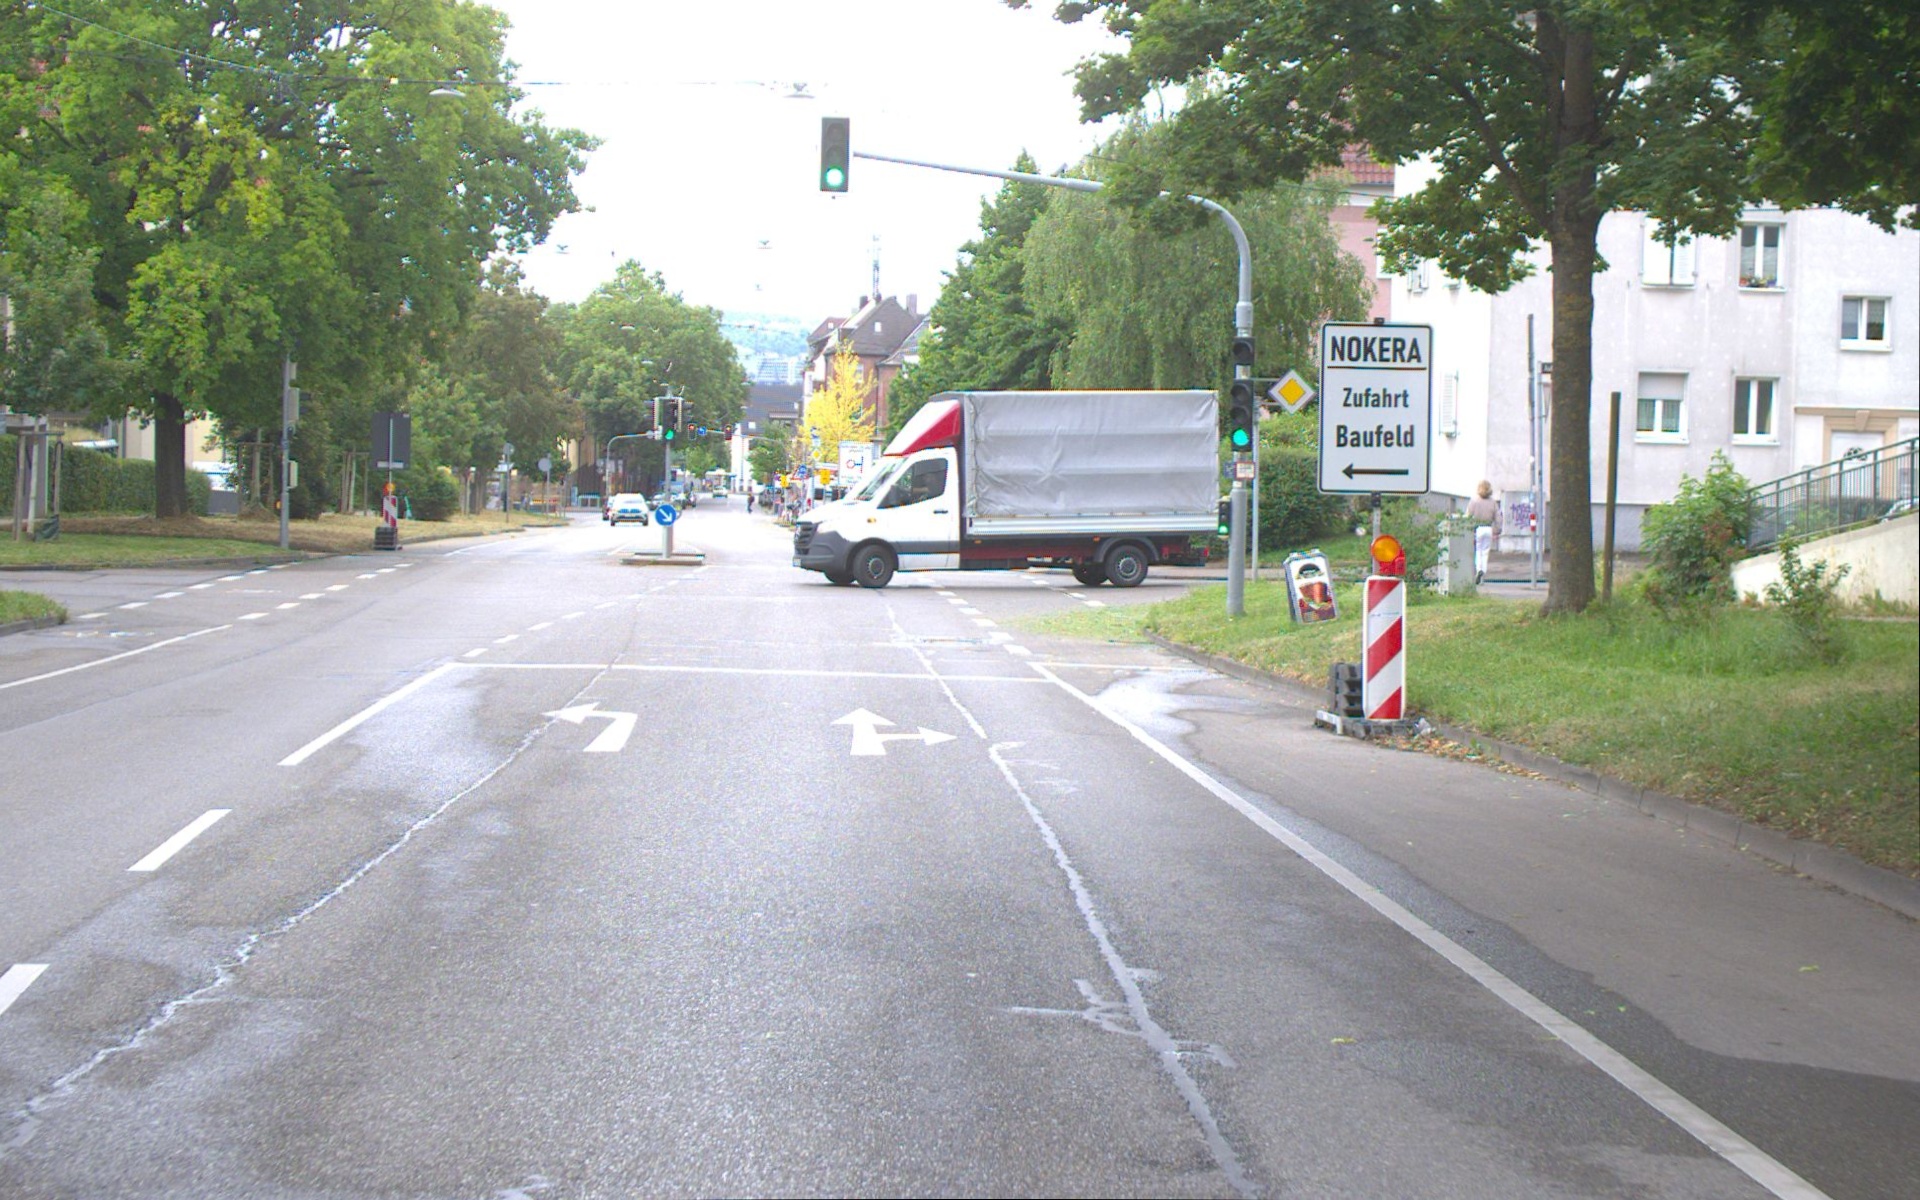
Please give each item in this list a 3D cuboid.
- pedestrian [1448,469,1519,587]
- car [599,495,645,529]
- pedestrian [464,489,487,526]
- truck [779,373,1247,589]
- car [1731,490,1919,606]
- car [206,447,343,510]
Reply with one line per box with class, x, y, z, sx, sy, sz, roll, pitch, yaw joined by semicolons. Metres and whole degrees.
pedestrian;8.375;-1.163;55.058;0.747;1.848;0.955;-2;2;-17
car;-15.713;-4.093;160.051;1.993;1.500;4.001;2;1;-4
pedestrian;-21.868;-4.185;155.062;0.947;1.644;1.043;2;1;-9
truck;0.841;-1.936;56.661;7.225;3.295;2.541;1;2;-13
car;12.087;-0.720;46.657;1.869;1.468;4.001;2;1;-7
car;-18.809;-3.332;94.411;3.448;1.590;2.000;2;1;-5
